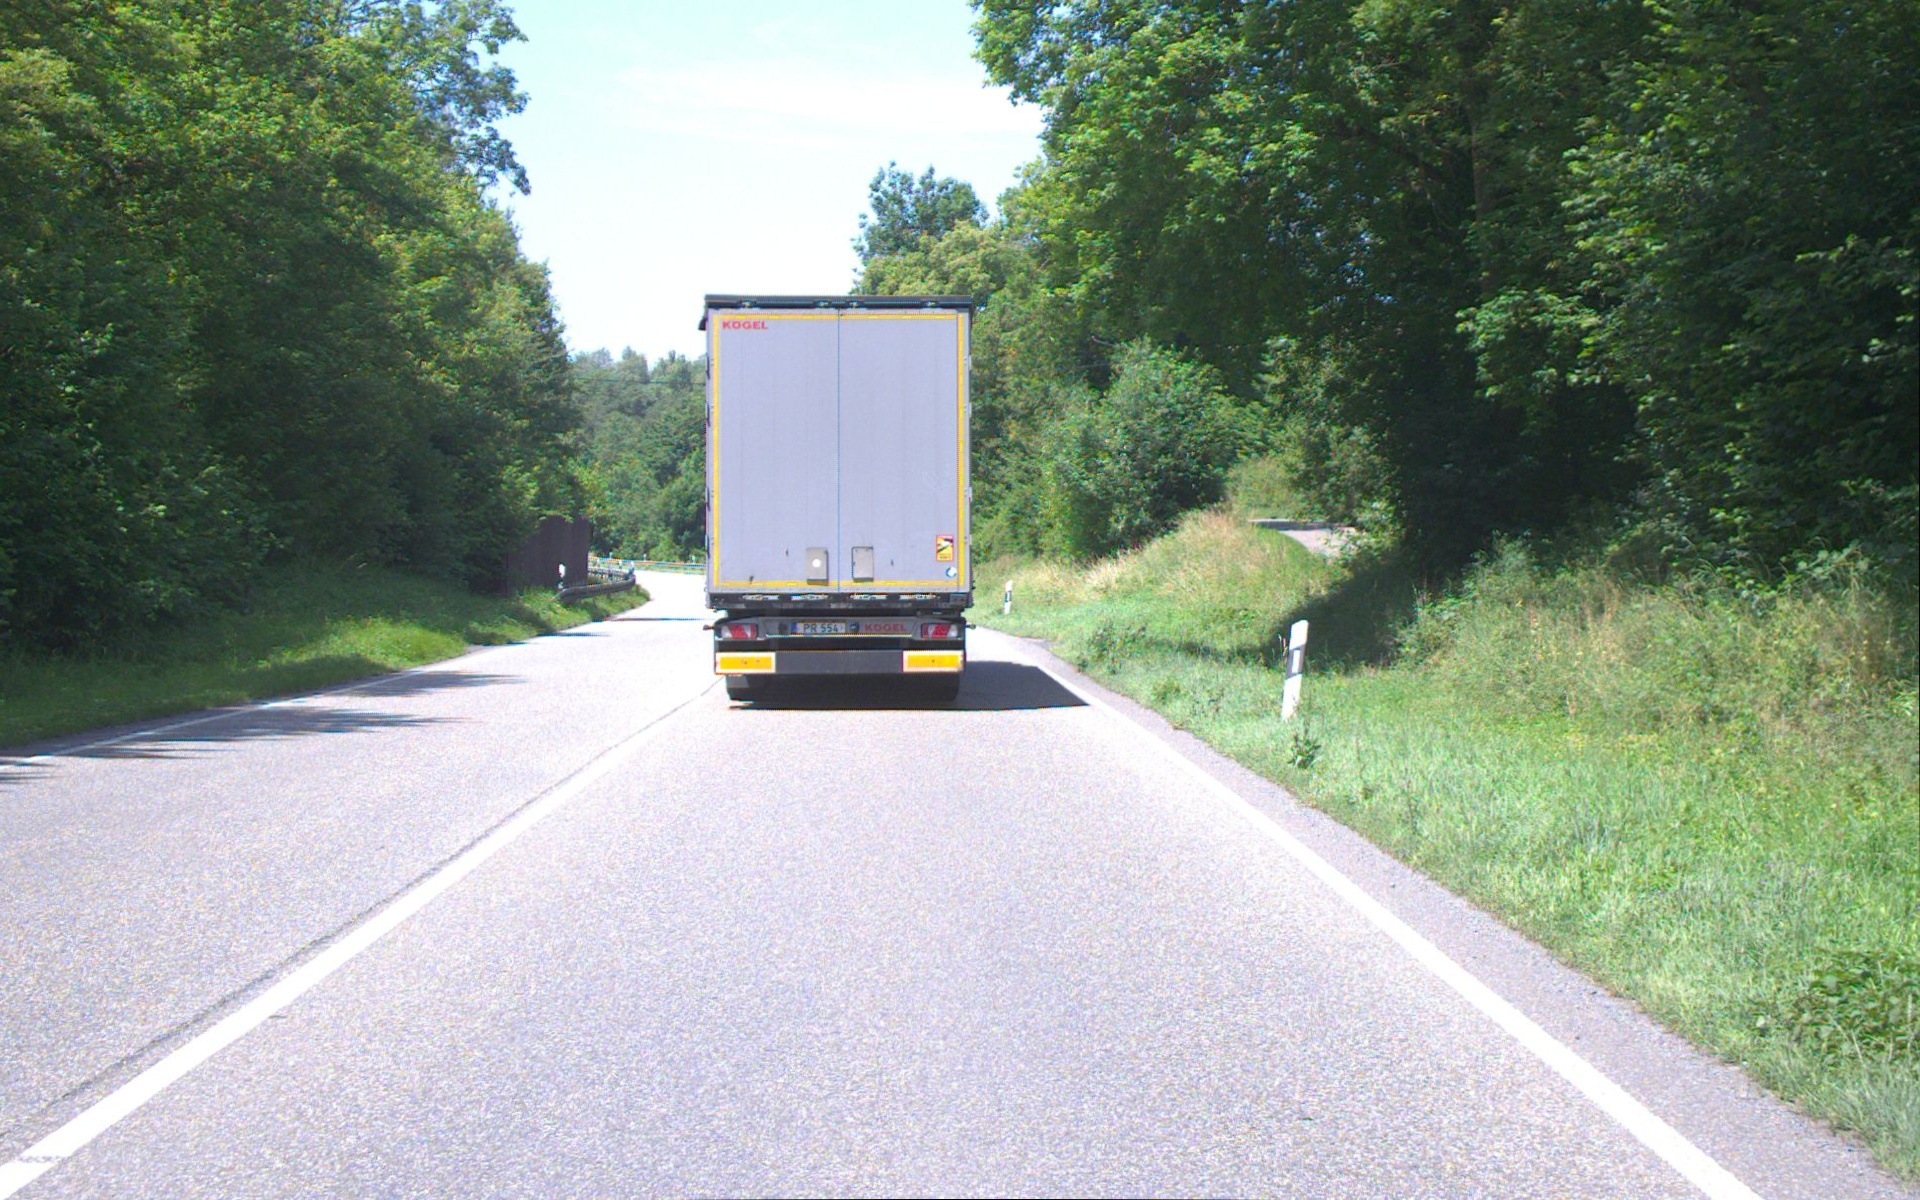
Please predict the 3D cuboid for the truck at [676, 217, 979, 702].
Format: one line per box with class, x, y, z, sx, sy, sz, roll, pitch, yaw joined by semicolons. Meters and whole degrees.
truck;-1.239;-1.332;36.002;2.822;4.588;6.665;0;0;1
